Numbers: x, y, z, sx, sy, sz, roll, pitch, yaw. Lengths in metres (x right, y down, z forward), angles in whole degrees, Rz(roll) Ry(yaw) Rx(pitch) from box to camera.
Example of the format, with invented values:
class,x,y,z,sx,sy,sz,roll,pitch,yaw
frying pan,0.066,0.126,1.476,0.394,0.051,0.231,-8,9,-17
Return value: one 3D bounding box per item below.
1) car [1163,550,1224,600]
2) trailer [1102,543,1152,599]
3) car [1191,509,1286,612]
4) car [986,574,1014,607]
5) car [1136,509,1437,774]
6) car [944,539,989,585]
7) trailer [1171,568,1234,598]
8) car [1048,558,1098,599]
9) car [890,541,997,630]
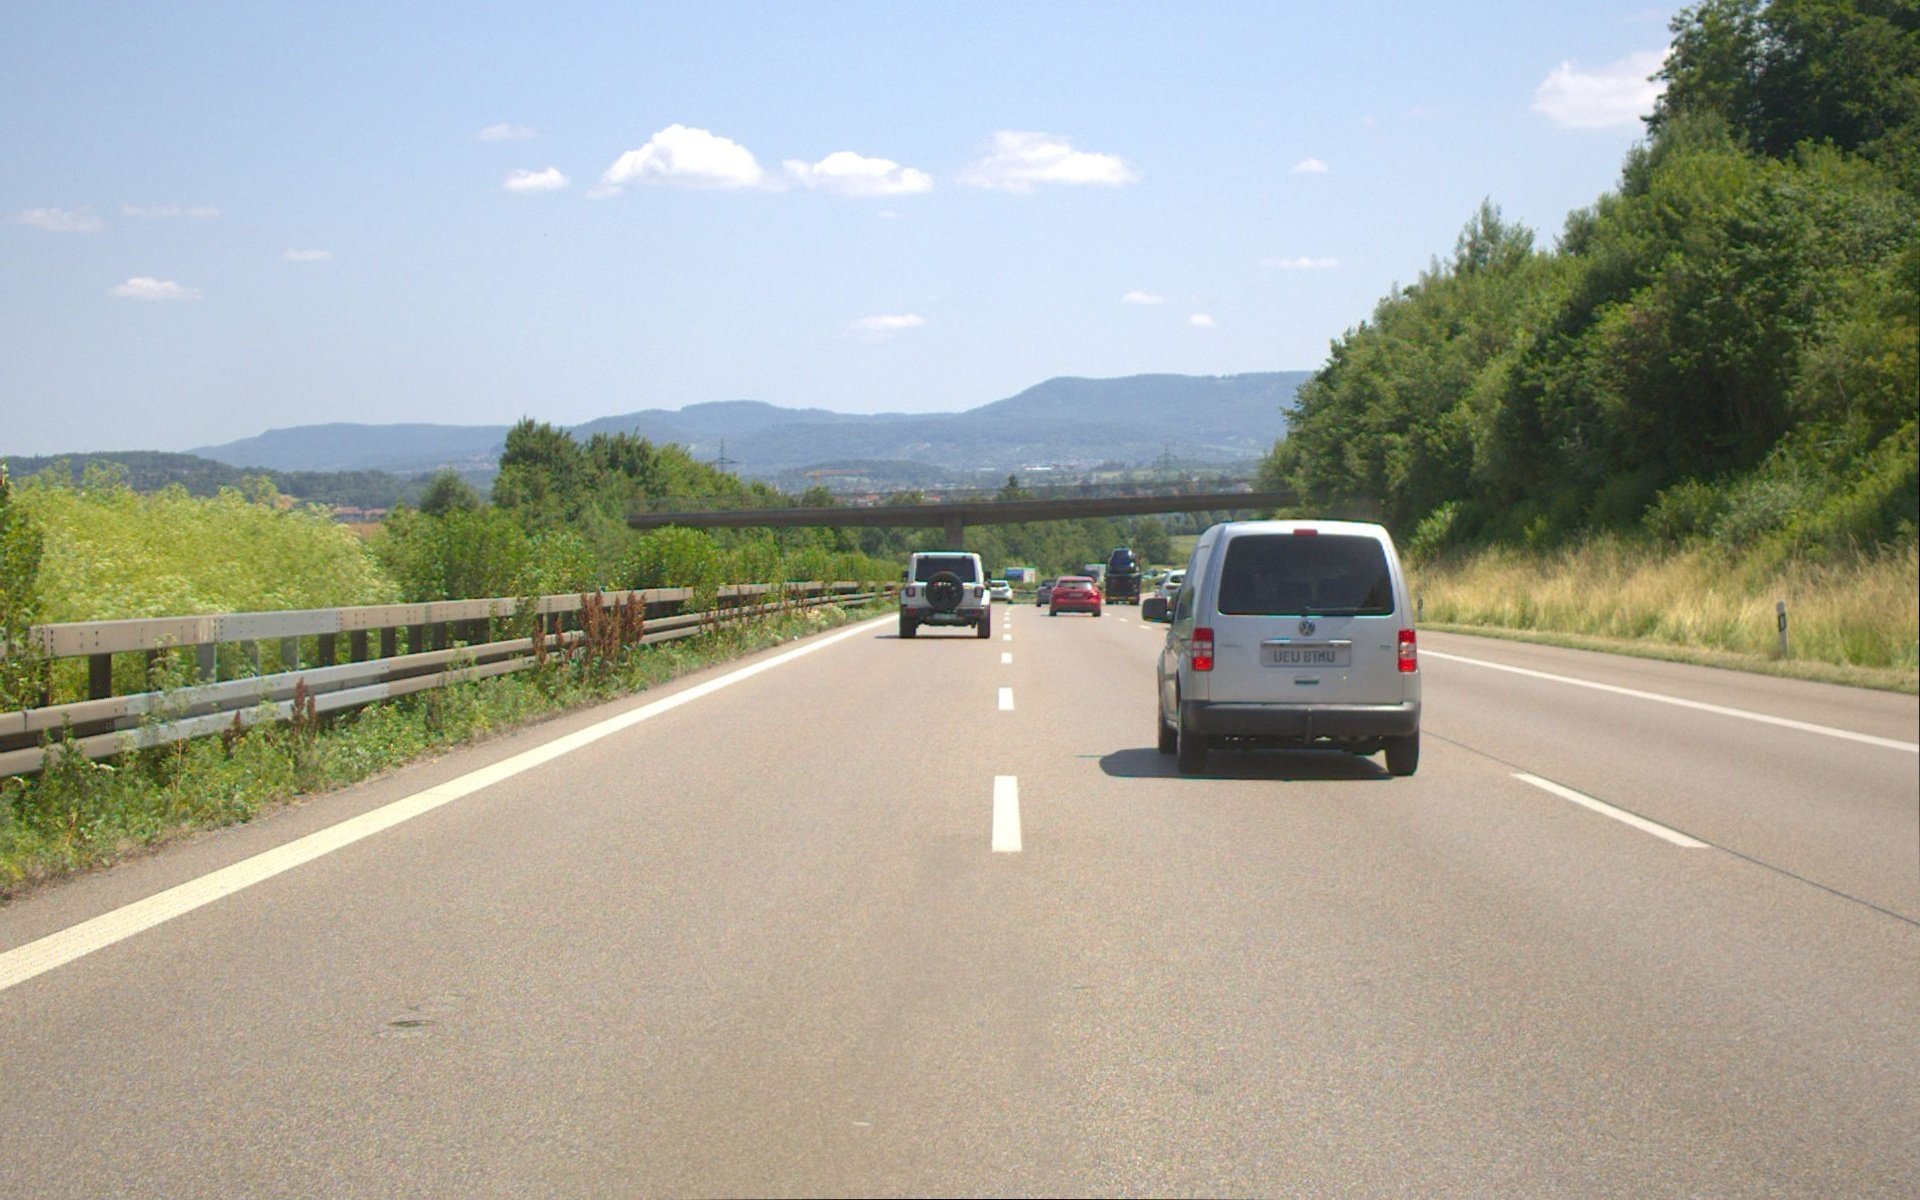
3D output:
class,x,y,z,sx,sy,sz,roll,pitch,yaw
car,8.041,-0.875,118.799,1.781,1.645,4.403,1,1,0
trailer,12.571,-2.260,257.639,2.856,3.979,15.393,1,1,6
car,7.246,-1.072,90.083,2.089,2.567,6.622,1,1,2
car,2.569,-0.625,221.113,1.698,2.007,3.822,1,1,1
car,2.400,0.238,26.363,1.745,1.823,4.801,1,1,-1
car,0.300,-1.752,157.577,1.993,2.007,4.000,1,1,1
trailer,8.041,-0.566,114.436,1.754,0.905,4.320,1,1,0
car,4.005,-0.761,122.150,1.686,1.374,3.949,1,1,1
car,-0.330,-0.353,74.793,2.083,1.823,4.753,1,1,2
